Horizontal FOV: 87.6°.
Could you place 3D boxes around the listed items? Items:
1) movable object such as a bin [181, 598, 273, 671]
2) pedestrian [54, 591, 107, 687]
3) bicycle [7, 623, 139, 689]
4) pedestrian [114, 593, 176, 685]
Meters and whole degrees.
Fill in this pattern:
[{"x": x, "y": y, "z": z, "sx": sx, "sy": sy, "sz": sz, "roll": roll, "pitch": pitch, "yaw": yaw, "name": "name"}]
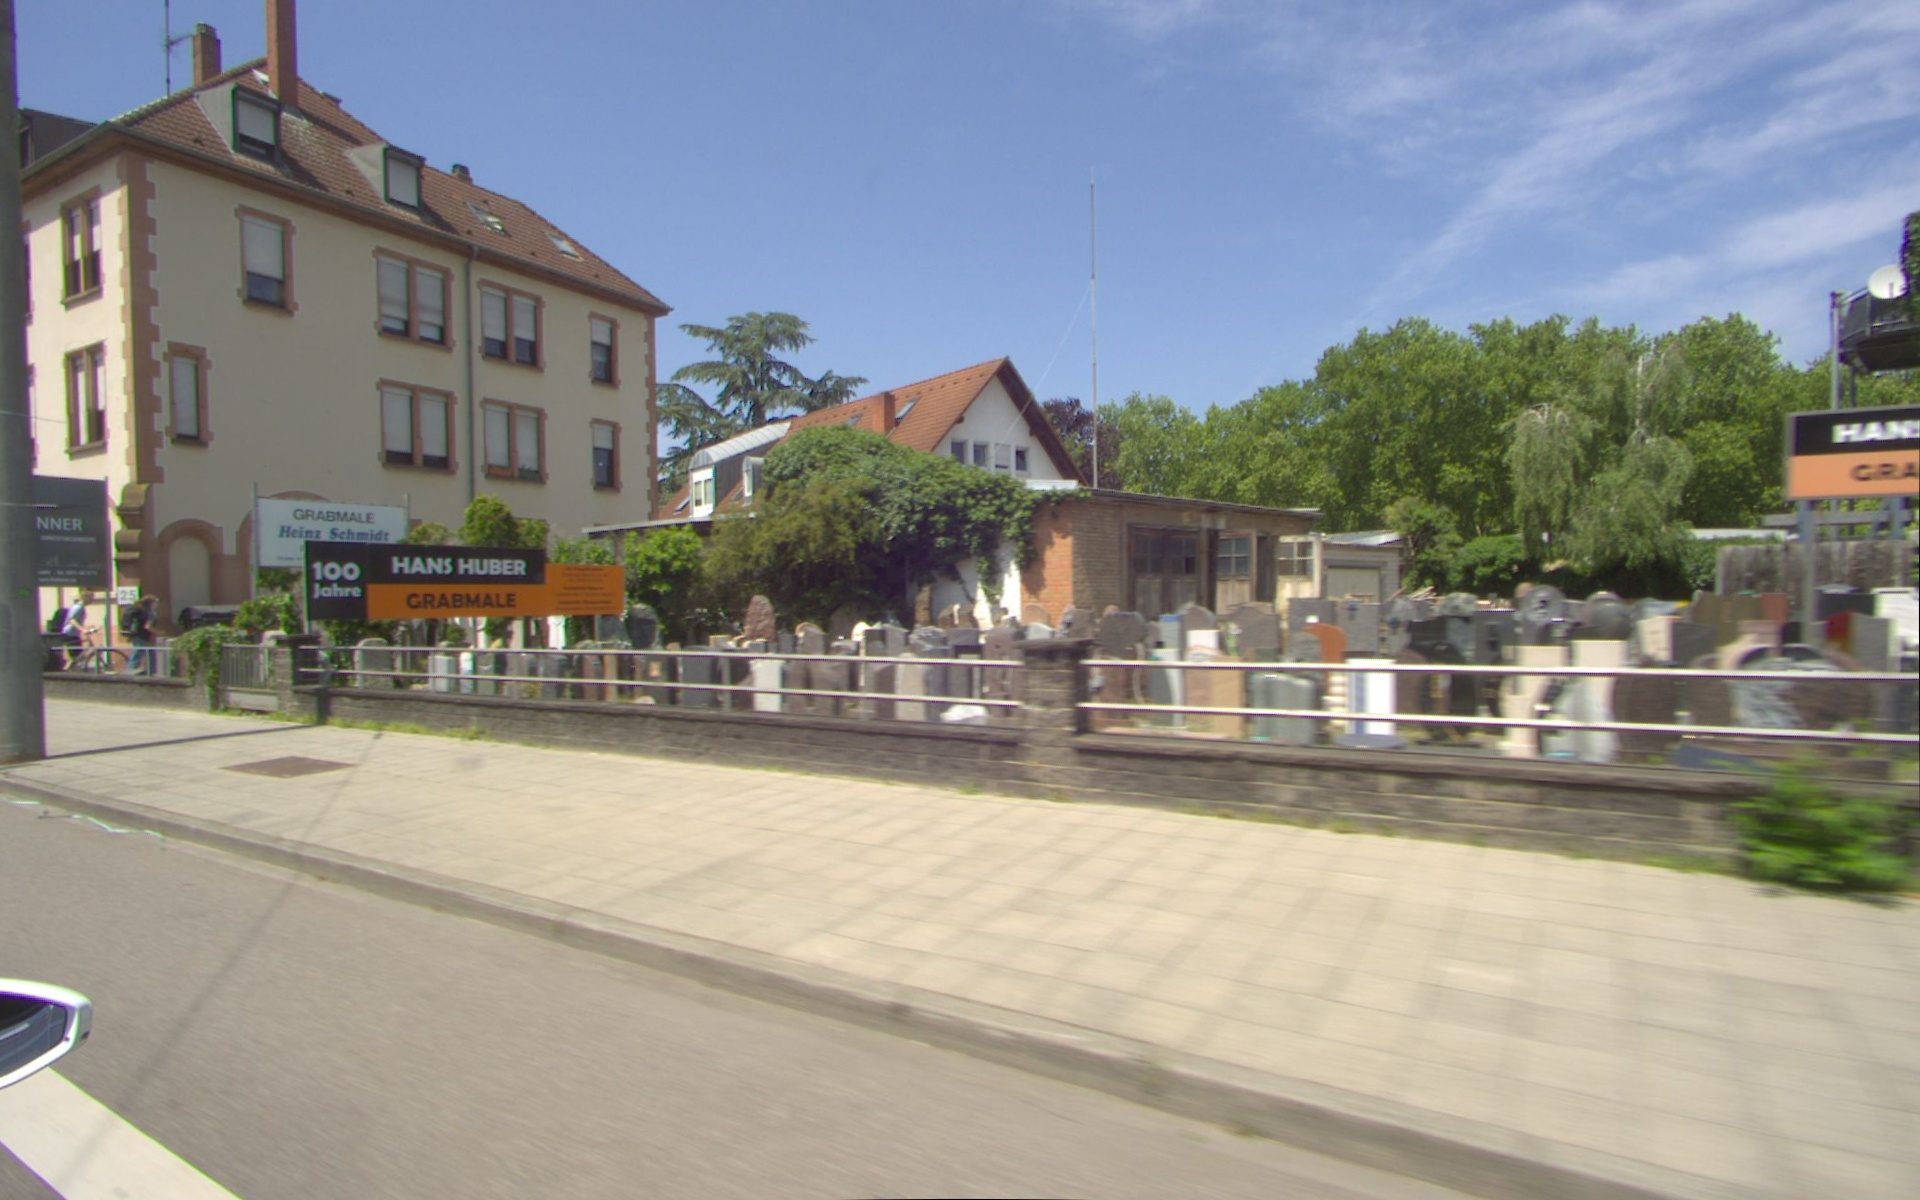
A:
[{"x": -16.333, "y": 0.747, "z": 22.331, "sx": 1.031, "sy": 1.519, "sz": 1.326, "roll": 0, "pitch": 2, "yaw": 31, "name": "movable object such as a bin"}, {"x": -16.884, "y": 0.731, "z": 19.224, "sx": 0.497, "sy": 1.796, "sz": 0.684, "roll": 0, "pitch": 1, "yaw": 41, "name": "pedestrian"}, {"x": -16.608, "y": 1.027, "z": 18.784, "sx": 0.583, "sy": 1.142, "sz": 1.793, "roll": 0, "pitch": 0, "yaw": 40, "name": "bicycle"}, {"x": -15.537, "y": 0.731, "z": 19.089, "sx": 0.582, "sy": 1.713, "sz": 0.820, "roll": 0, "pitch": 1, "yaw": 41, "name": "pedestrian"}]
